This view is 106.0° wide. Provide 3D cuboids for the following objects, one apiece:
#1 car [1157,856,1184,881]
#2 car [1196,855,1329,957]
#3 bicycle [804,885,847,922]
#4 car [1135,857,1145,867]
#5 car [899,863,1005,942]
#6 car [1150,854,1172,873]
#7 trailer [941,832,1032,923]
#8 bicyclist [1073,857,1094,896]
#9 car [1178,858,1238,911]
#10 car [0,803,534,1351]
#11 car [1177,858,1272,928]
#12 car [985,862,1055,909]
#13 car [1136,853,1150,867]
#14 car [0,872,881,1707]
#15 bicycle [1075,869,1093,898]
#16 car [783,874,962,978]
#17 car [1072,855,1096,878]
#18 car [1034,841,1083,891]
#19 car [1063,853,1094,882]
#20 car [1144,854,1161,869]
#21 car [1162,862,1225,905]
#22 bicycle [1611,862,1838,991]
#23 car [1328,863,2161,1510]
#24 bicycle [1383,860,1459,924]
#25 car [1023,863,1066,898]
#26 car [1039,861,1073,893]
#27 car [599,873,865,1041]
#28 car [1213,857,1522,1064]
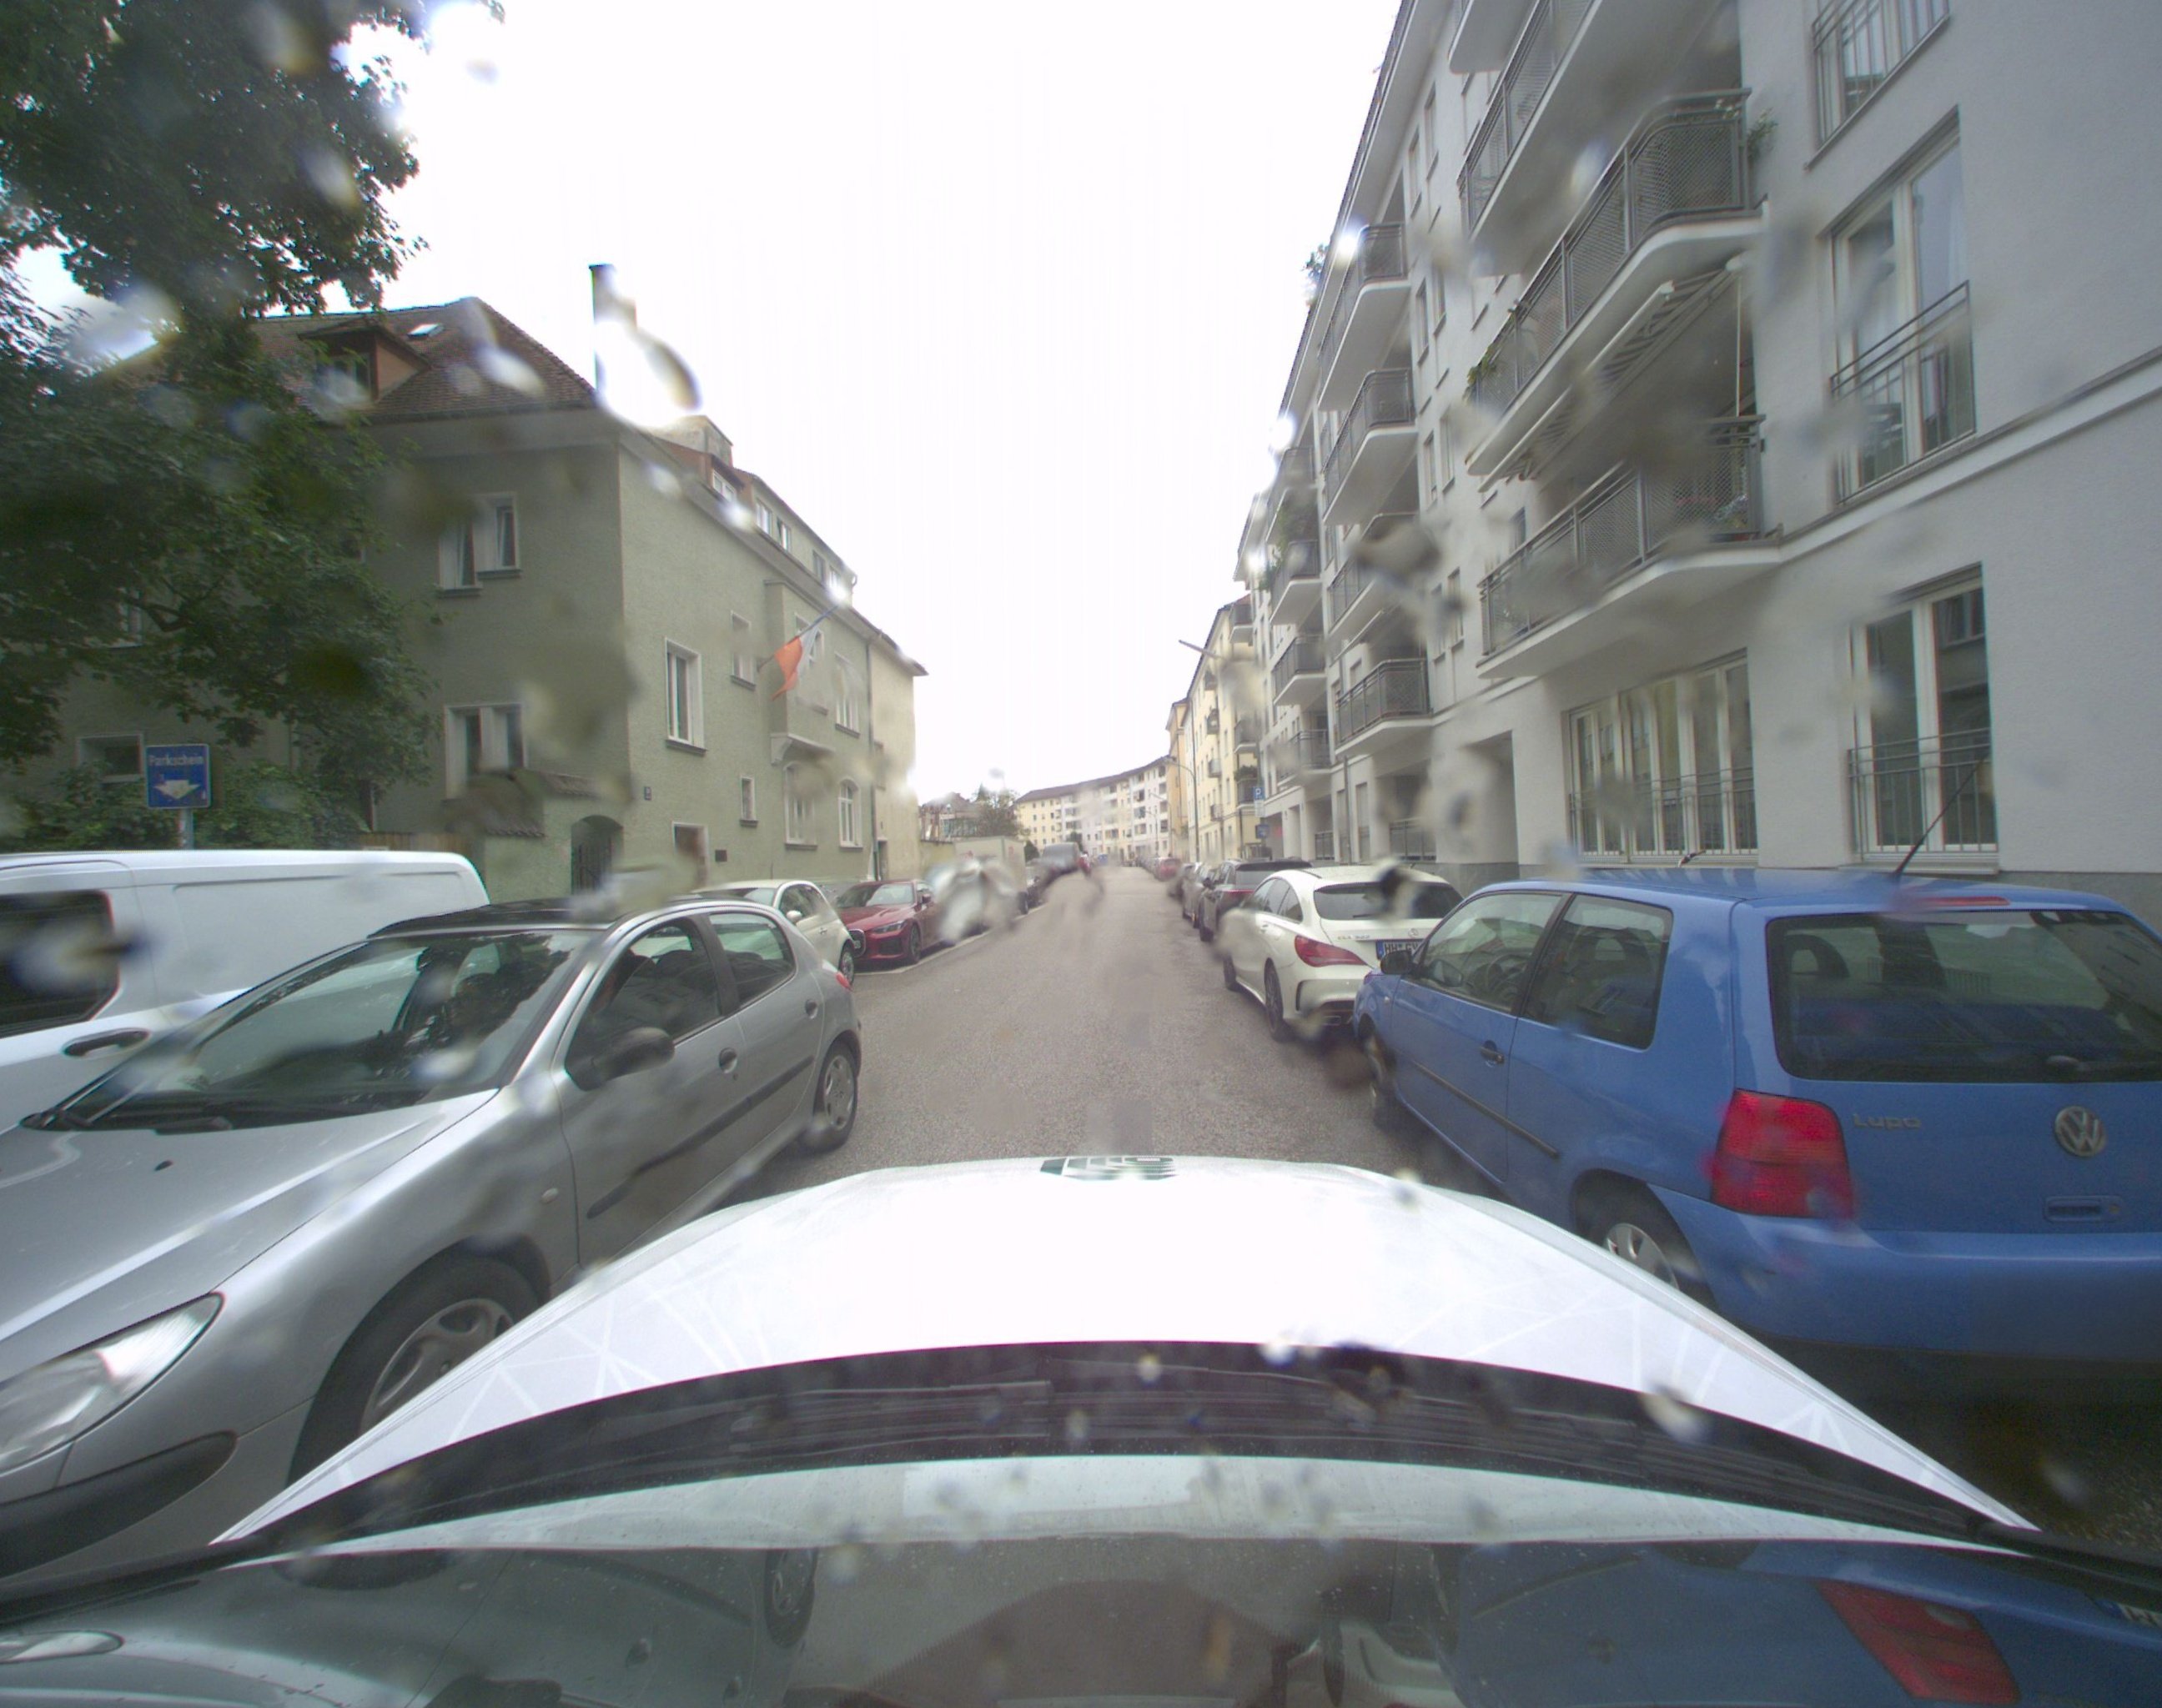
[{"bbox_3d":[5.859,0.915,53.494,1.588,1.509,3.805,-3,0,4],"label":"car"},{"bbox_3d":[2.979,0.787,14.142,1.597,1.530,3.987,0,0,3],"label":"car"},{"bbox_3d":[-7.030,1.337,22.483,0.520,0.906,1.929,1,0,1],"label":"bicycle"},{"bbox_3d":[8.026,1.067,110.521,1.267,1.299,2.799,-2,0,2],"label":"car"},{"bbox_3d":[-3.056,1.091,20.056,1.680,1.603,3.924,-4,0,3],"label":"car"},{"bbox_3d":[6.816,0.819,69.447,1.593,1.491,3.801,-2,0,2],"label":"car"},{"bbox_3d":[-2.834,0.677,25.395,1.701,2.461,4.394,-4,0,6],"label":"trailer"},{"bbox_3d":[0.097,0.944,34.246,0.690,1.561,0.968,-4,-1,6],"label":"bicyclist"},{"bbox_3d":[3.933,0.905,25.622,1.513,1.530,3.529,-1,0,3],"label":"car"},{"bbox_3d":[-4.421,0.790,3.046,1.683,1.803,4.148,-4,0,3],"label":"car"},{"bbox_3d":[3.396,0.858,20.054,1.727,1.530,4.624,0,0,3],"label":"car"},{"bbox_3d":[-2.261,1.161,31.310,1.757,1.538,4.549,-5,-1,6],"label":"car"},{"bbox_3d":[7.534,0.767,98.883,1.468,1.641,4.003,-1,0,2],"label":"car"},{"bbox_3d":[-2.169,0.831,3.137,1.574,1.411,3.617,-3,-1,5],"label":"car"},{"bbox_3d":[0.137,1.234,34.227,0.501,1.128,1.776,-4,0,7],"label":"bicycle"},{"bbox_3d":[-3.514,1.154,14.640,1.853,1.412,4.336,-4,-1,2],"label":"car"},{"bbox_3d":[0.303,1.015,67.236,1.695,1.691,4.031,-4,0,3],"label":"car"},{"bbox_3d":[-1.253,0.653,47.775,2.078,2.636,5.385,-3,0,5],"label":"car"},{"bbox_3d":[-0.170,0.962,60.337,1.875,1.931,4.604,-4,0,3],"label":"car"},{"bbox_3d":[7.791,0.823,88.912,1.584,1.582,4.301,-1,0,2],"label":"car"},{"bbox_3d":[4.039,1.032,29.822,1.757,1.408,4.079,-2,-1,1],"label":"car"},{"bbox_3d":[5.870,0.627,7.593,0.674,1.028,1.836,-3,-2,3],"label":"bicycle"},{"bbox_3d":[2.375,0.751,3.572,1.612,1.412,3.555,0,-1,2],"label":"car"},{"bbox_3d":[6.684,0.708,16.134,0.625,1.160,2.128,-3,0,2],"label":"bicycle"},{"bbox_3d":[-1.646,1.179,37.681,1.694,1.446,3.826,-2,0,1],"label":"car"},{"bbox_3d":[-1.273,1.173,42.563,1.580,1.538,3.543,-3,-1,0],"label":"car"},{"bbox_3d":[-3.801,1.033,9.500,1.467,1.466,3.315,-4,-1,2],"label":"car"},{"bbox_3d":[2.339,0.751,7.798,1.651,1.440,4.209,0,0,3],"label":"car"}]
